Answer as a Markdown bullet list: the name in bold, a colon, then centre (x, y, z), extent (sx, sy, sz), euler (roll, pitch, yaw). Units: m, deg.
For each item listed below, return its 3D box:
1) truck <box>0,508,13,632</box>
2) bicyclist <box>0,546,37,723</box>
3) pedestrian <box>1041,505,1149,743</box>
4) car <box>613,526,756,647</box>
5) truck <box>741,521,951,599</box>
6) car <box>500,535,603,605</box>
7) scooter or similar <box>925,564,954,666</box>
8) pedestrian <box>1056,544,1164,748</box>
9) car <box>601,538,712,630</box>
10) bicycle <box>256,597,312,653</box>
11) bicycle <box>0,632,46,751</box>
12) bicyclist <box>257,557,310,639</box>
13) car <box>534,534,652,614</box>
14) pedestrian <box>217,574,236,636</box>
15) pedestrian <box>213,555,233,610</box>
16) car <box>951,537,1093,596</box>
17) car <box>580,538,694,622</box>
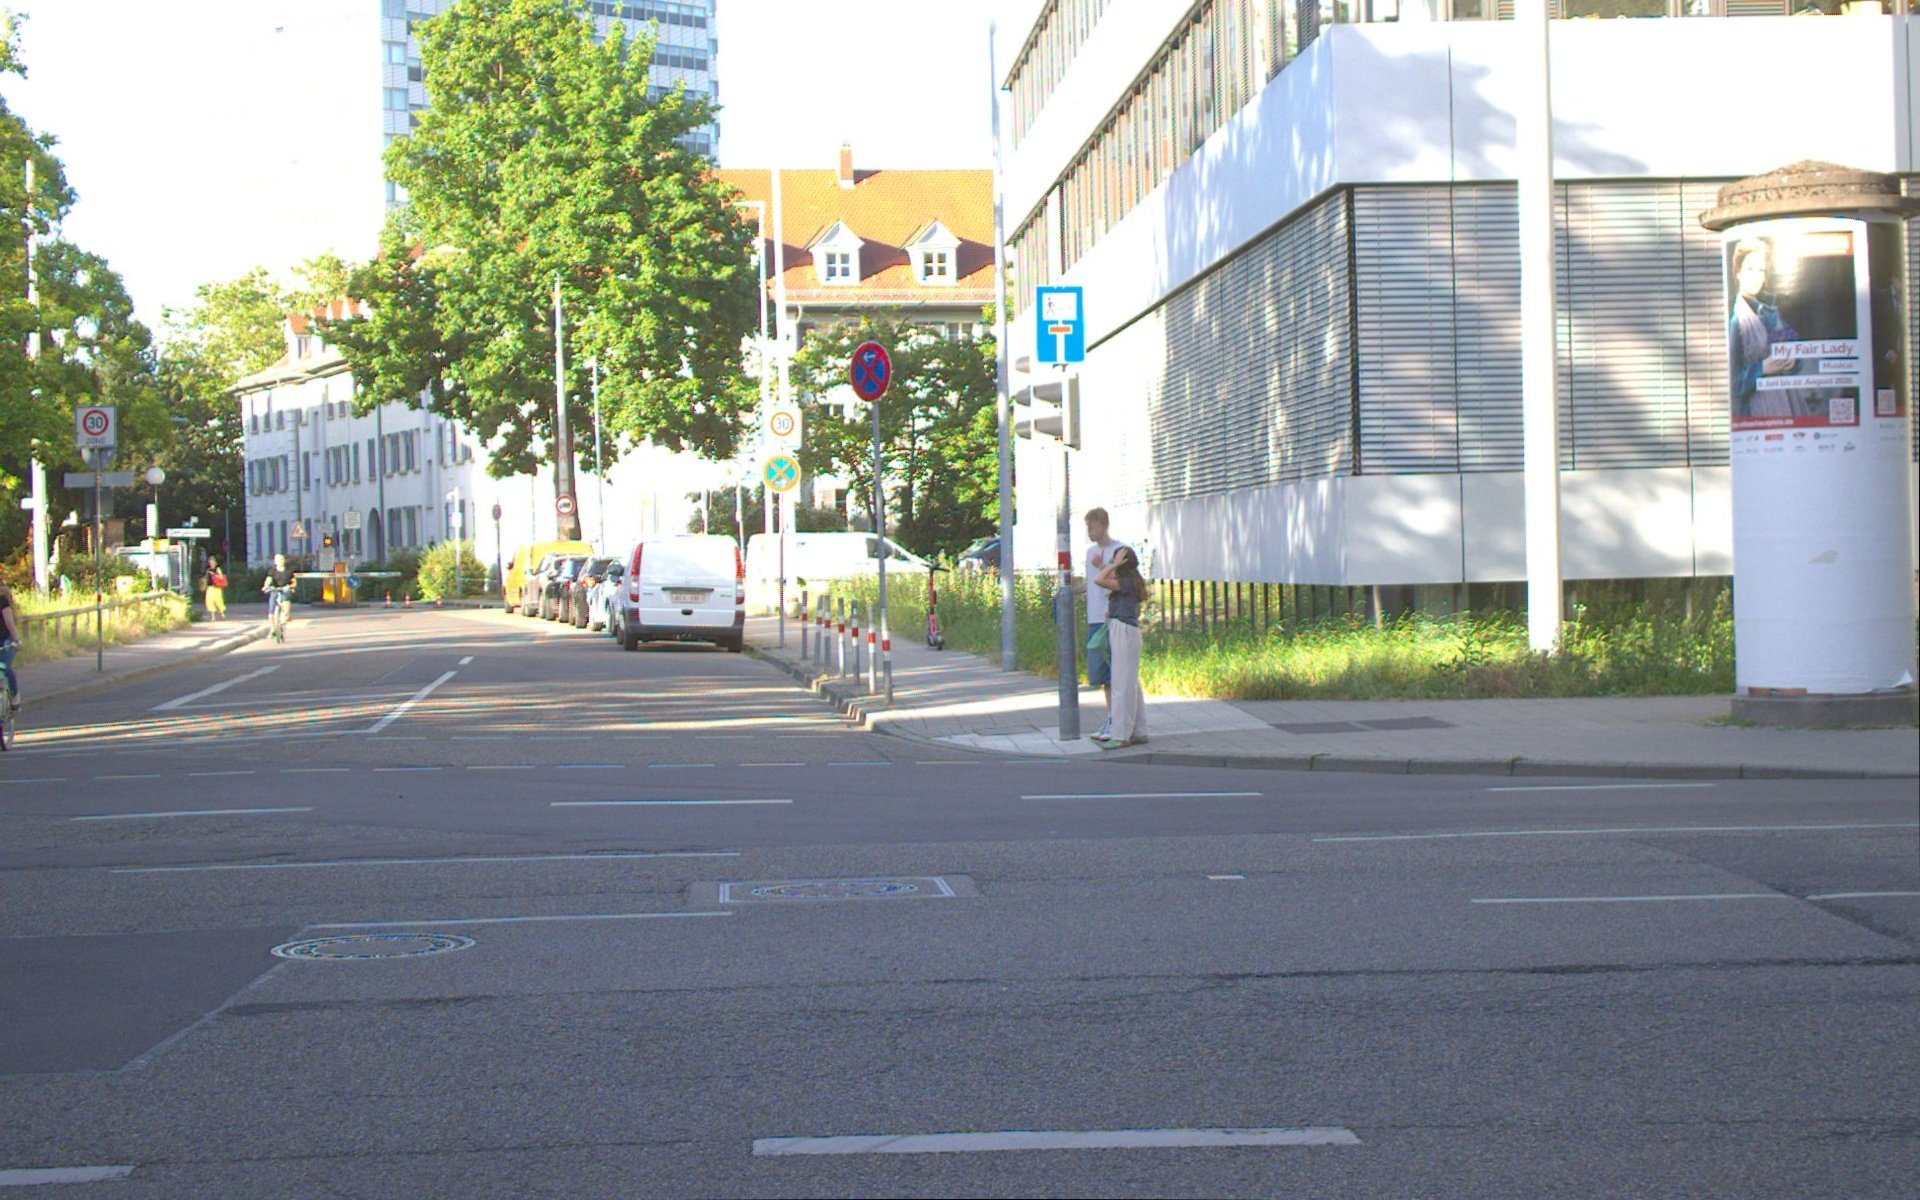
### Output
- **truck**: centre (-20.891, -0.551, 66.212), extent (4.827, 2.391, 2.088), euler (-1, 1, -6)
- **bicyclist**: centre (-8.523, 0.300, 30.196), extent (0.615, 1.527, 0.903), euler (-2, 1, -6)
- **pedestrian**: centre (1.089, 0.186, 27.545), extent (0.560, 1.844, 0.676), euler (-4, 1, 19)
- **car**: centre (-4.443, -0.253, 54.945), extent (2.085, 1.789, 4.416), euler (-1, 2, -7)
- **truck**: centre (-3.090, -1.089, 93.143), extent (5.336, 2.007, 2.001), euler (-1, 1, -16)
- **car**: centre (-10.248, -0.771, 85.992), extent (1.888, 1.650, 4.417), euler (-1, 2, -15)
- **scooter or similar**: centre (-0.292, 0.208, 48.422), extent (0.330, 1.419, 1.335), euler (1, 0, -3)
- **pedestrian**: centre (1.170, 0.353, 26.935), extent (0.559, 1.535, 0.677), euler (-5, 1, -15)
- **car**: centre (-5.606, -0.325, 63.131), extent (1.888, 1.550, 4.416), euler (-1, 2, -7)
- **bicycle**: centre (-13.080, 0.481, 66.606), extent (0.865, 1.006, 2.415), euler (-4, 1, -8)
- **bicycle**: centre (-8.511, 0.796, 30.190), extent (0.615, 0.966, 1.841), euler (-2, 1, -6)
- **bicyclist**: centre (-13.106, -0.044, 66.616), extent (0.865, 1.510, 1.019), euler (-4, 1, -8)
- **car**: centre (-8.131, -0.599, 75.917), extent (1.888, 1.650, 4.417), euler (-1, 2, -15)
- **pedestrian**: centre (-19.106, 0.126, 89.556), extent (0.433, 1.602, 0.493), euler (-1, 1, -12)
- **pedestrian**: centre (-22.727, -0.531, 105.969), extent (0.545, 1.671, 0.476), euler (-2, 1, -14)
- **car**: centre (1.687, -0.913, 94.053), extent (3.553, 1.541, 1.559), euler (-1, 1, -16)
- **car**: centre (-6.470, -0.434, 68.560), extent (1.888, 1.550, 4.416), euler (-1, 2, -10)
